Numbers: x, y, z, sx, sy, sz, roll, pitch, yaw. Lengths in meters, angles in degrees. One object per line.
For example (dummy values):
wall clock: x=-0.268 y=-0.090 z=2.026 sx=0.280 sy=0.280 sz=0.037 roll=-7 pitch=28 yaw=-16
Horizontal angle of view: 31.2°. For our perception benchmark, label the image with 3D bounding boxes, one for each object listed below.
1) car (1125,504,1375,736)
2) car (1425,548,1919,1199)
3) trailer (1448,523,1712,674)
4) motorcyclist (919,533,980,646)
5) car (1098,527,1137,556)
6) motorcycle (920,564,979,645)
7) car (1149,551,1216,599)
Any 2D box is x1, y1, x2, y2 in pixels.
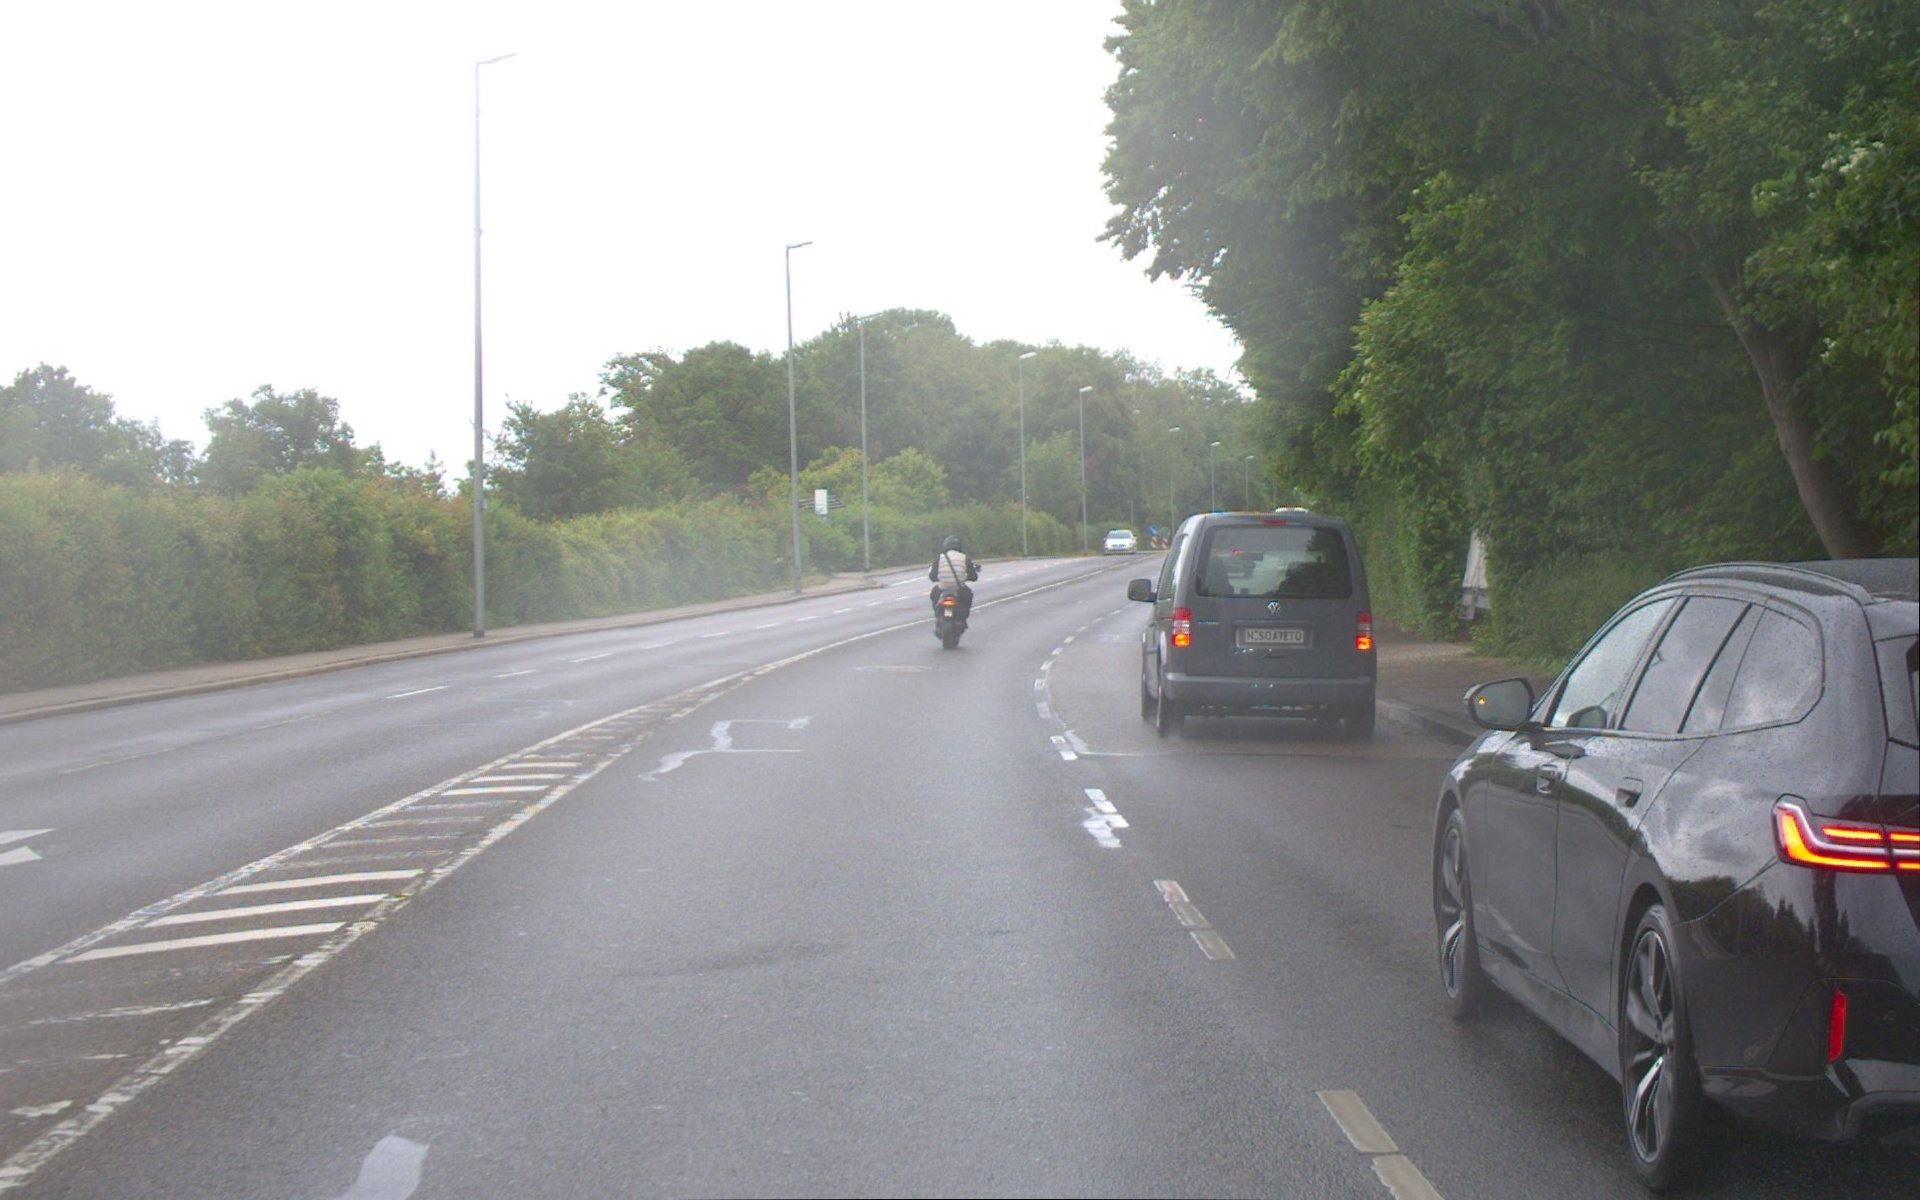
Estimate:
car: x=2.361 y=0.107 z=28.792 sx=1.767 sy=1.804 sz=3.905 roll=0 pitch=1 yaw=0
car: x=2.434 y=0.659 z=8.874 sx=1.764 sy=1.531 sz=3.673 roll=2 pitch=1 yaw=-3
trailer: x=8.697 y=-0.036 z=48.405 sx=3.349 sy=1.642 sz=1.198 roll=8 pitch=2 yaw=3
motorcyclist: x=-0.150 y=-0.152 z=50.389 sx=0.845 sy=1.641 sz=0.468 roll=0 pitch=2 yaw=5
car: x=9.426 y=-3.484 z=205.861 sx=1.748 sy=1.656 sz=3.855 roll=1 pitch=2 yaw=-6
motorcycle: x=-0.147 y=0.061 z=50.451 sx=0.741 sy=1.115 sz=1.426 roll=1 pitch=2 yaw=5
car: x=7.471 y=-0.857 z=114.997 sx=2.015 sy=1.410 sz=4.486 roll=1 pitch=3 yaw=7
